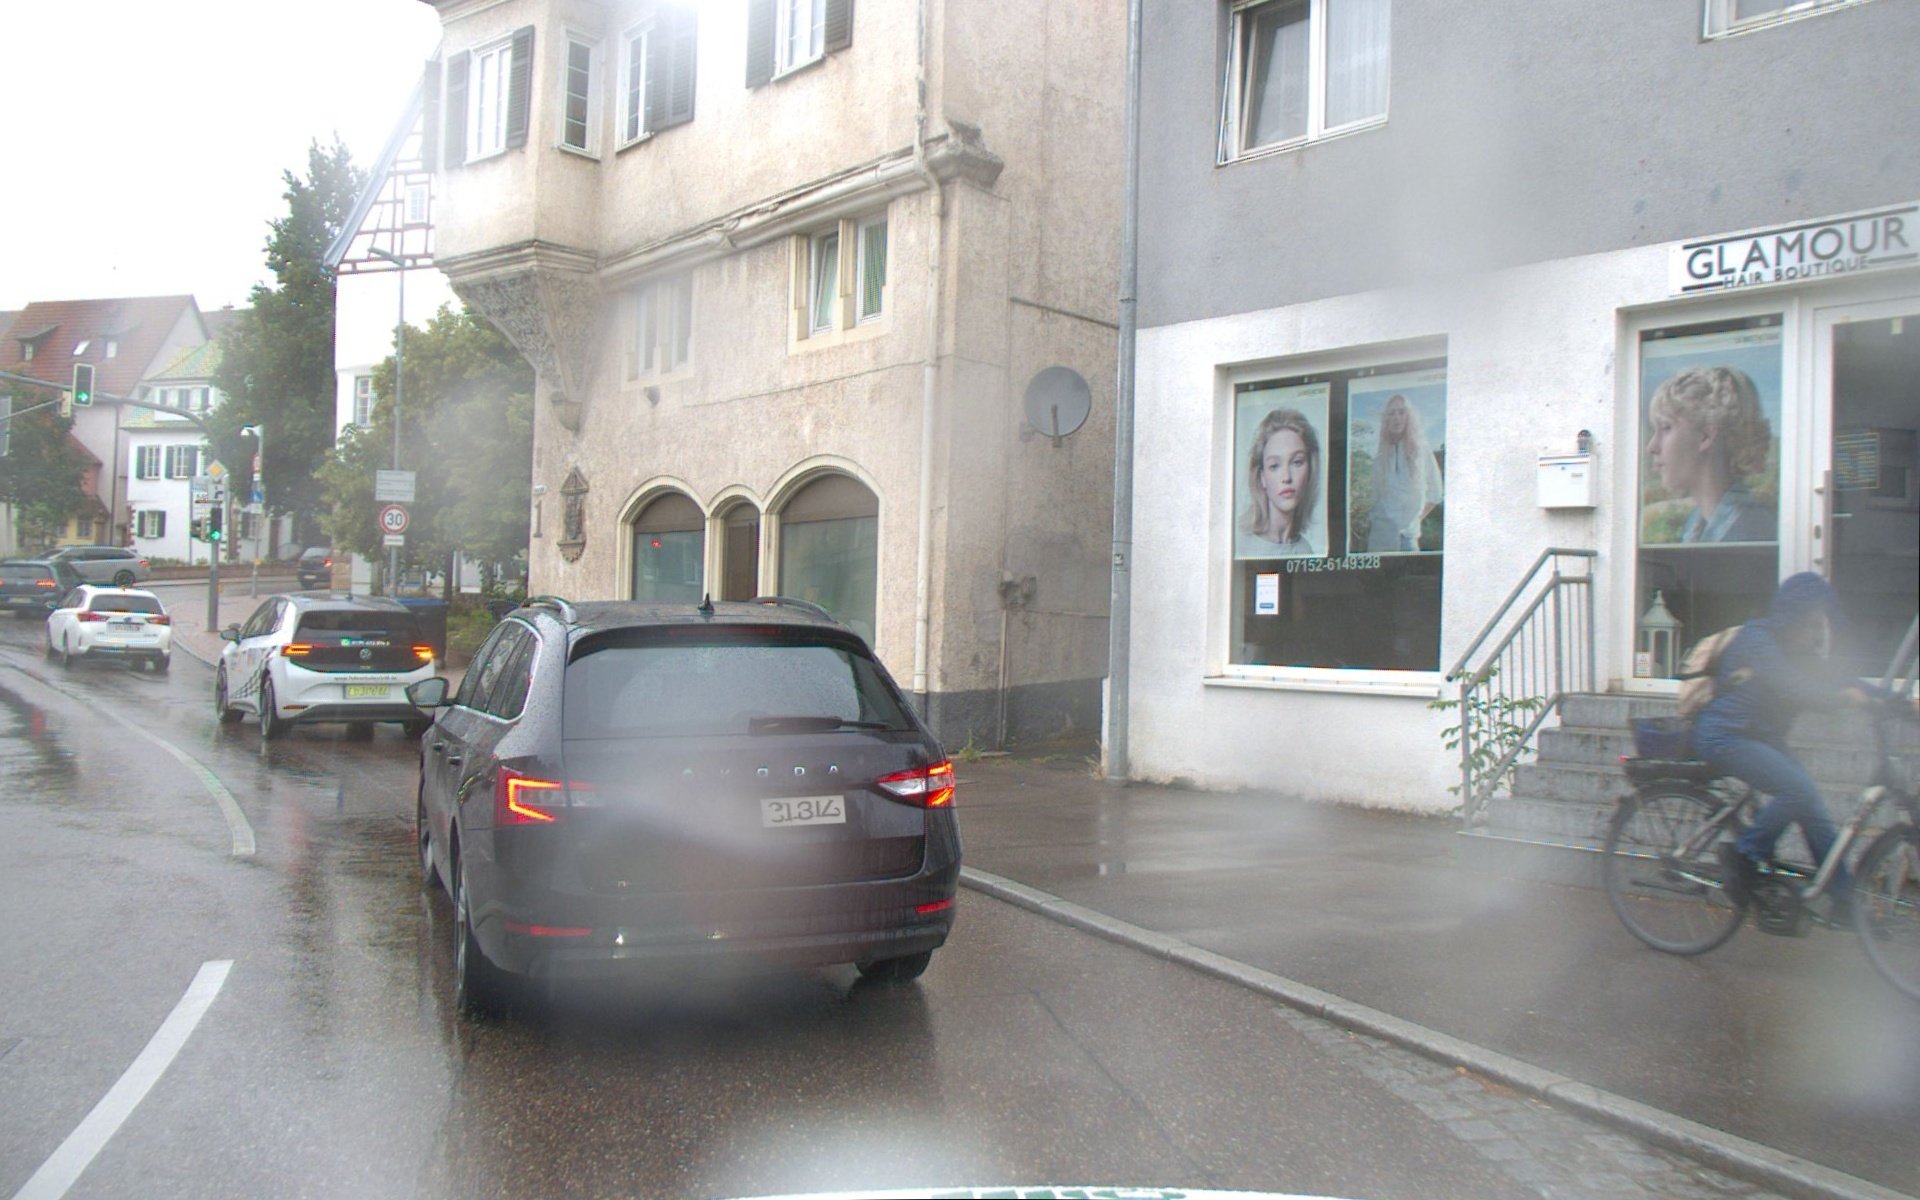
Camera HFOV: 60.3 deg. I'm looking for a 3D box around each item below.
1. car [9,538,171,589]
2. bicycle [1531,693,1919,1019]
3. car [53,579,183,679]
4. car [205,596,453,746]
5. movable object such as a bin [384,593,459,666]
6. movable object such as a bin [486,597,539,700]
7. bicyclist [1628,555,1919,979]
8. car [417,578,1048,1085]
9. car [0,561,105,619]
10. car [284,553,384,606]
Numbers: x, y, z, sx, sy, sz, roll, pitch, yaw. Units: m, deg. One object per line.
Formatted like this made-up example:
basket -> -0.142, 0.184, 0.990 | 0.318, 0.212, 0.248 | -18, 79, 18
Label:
car -> -29.207, -1.219, 55.621 | 1.964, 1.618, 4.455 | 3, 2, 40
bicycle -> 3.400, 0.969, 6.488 | 2.044, 1.053, 0.759 | 2, 1, 42
car -> -15.962, 0.493, 31.251 | 1.867, 1.623, 4.280 | 0, 2, -32
car -> -7.261, 0.740, 18.805 | 1.840, 1.499, 3.953 | 0, -1, -33
movable object such as a bin -> -10.250, 0.560, 31.467 | 1.142, 1.336, 1.175 | 2, 0, -29
movable object such as a bin -> -6.697, 0.718, 24.738 | 0.630, 1.466, 0.412 | 4, 3, 32
bicyclist -> 3.334, 0.606, 6.643 | 1.012, 1.544, 0.681 | 2, 0, 42
car -> -1.313, 0.681, 7.181 | 1.859, 1.473, 4.331 | 1, 0, -20
car -> -23.784, -0.285, 42.935 | 1.960, 1.324, 3.986 | 1, 2, -15
car -> -21.823, -0.685, 57.778 | 1.549, 1.550, 3.435 | -5, -3, 12
